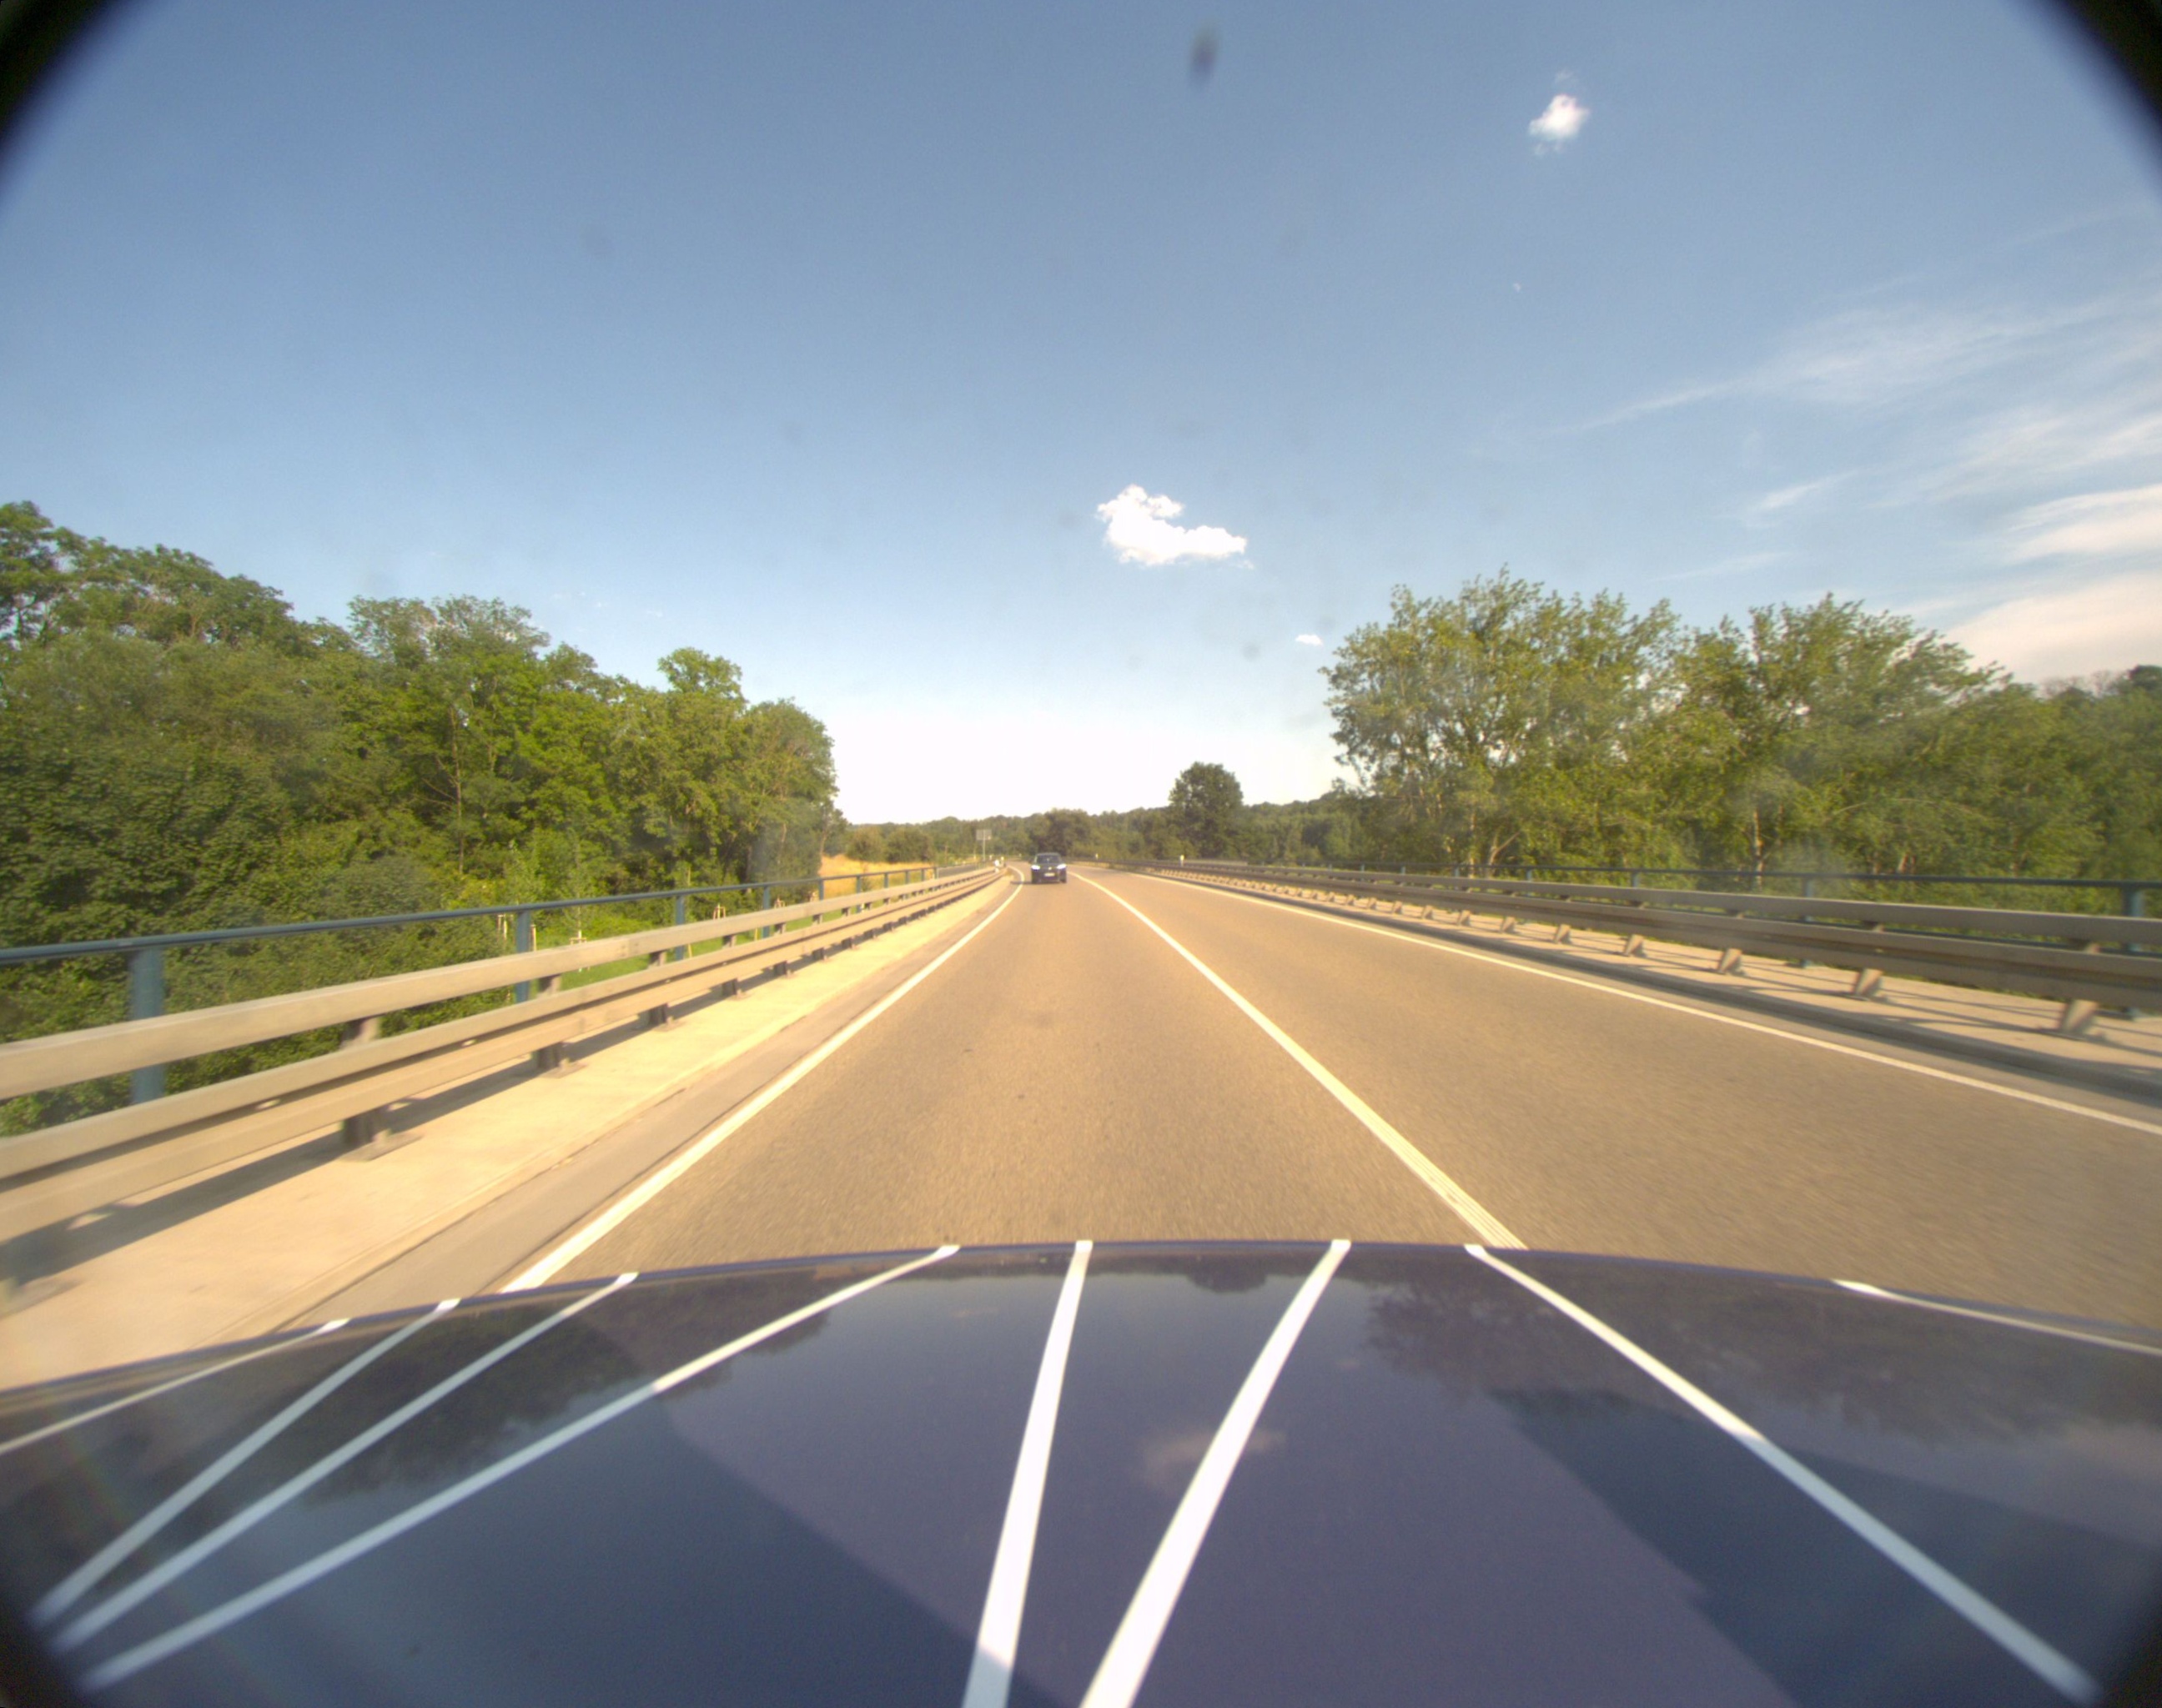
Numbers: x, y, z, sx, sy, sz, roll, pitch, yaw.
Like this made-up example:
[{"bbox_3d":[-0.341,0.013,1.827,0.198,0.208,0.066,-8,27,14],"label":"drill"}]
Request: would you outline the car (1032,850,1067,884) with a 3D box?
[{"bbox_3d":[-1.681,0.666,40.851,1.751,1.645,4.304,-1,1,-2],"label":"car"}]
